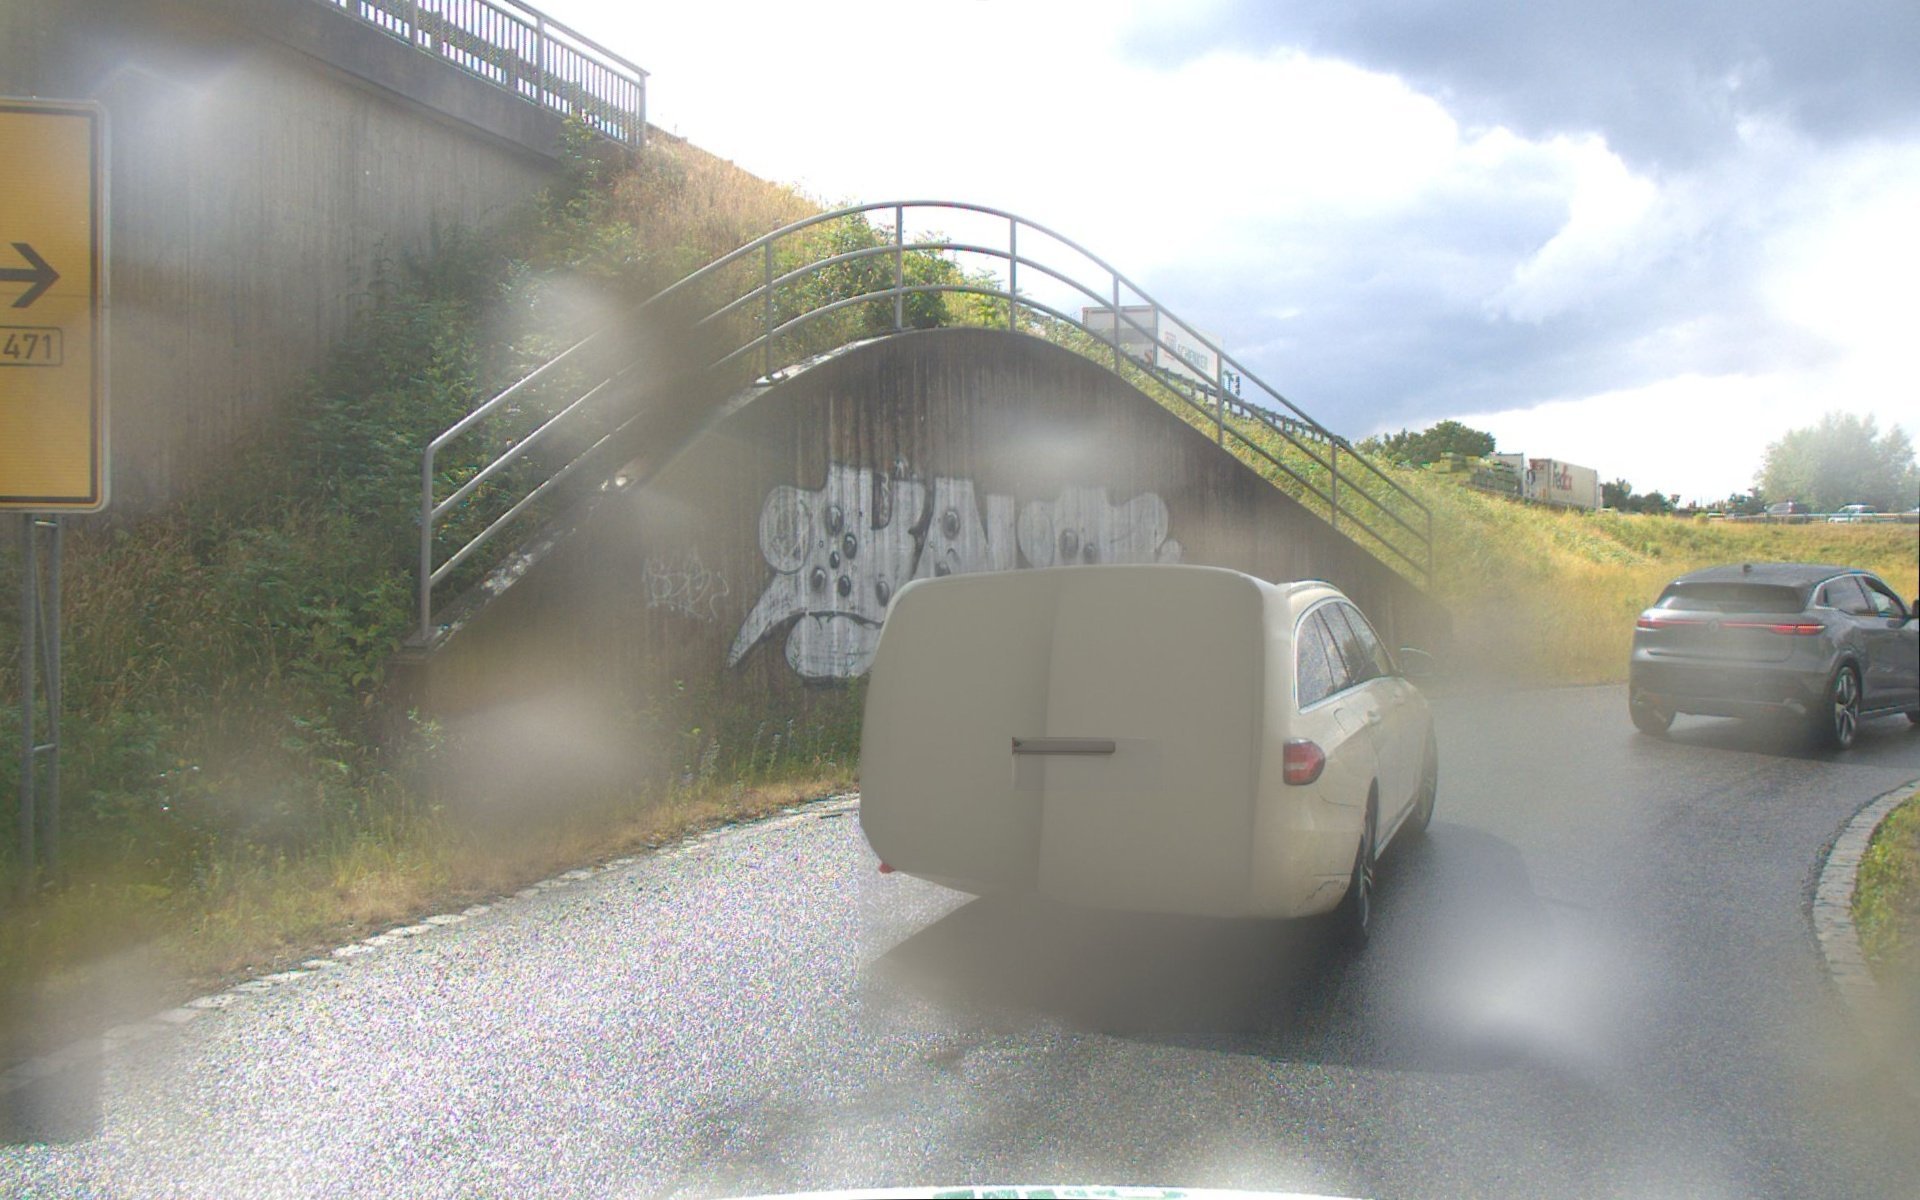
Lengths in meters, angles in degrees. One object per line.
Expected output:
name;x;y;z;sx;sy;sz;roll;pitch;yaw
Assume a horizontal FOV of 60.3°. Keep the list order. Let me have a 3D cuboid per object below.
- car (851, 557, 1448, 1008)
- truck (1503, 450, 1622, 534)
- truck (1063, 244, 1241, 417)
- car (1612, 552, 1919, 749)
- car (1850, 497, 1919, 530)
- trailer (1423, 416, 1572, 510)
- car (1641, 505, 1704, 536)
car;1.260;0.586;8.114;1.876;1.533;4.597;0;1;20
truck;43.709;-7.568;119.285;4.379;4.582;19.331;1;0;31
truck;6.478;-8.568;54.215;3.117;4.035;9.231;1;0;24
car;7.693;0.360;15.123;3.968;1.551;1.697;-1;2;-43
car;60.851;-5.646;107.880;1.961;1.894;5.035;-1;0;-16
trailer;33.692;-8.219;102.622;4.333;4.025;20.171;1;0;31
car;49.531;-5.508;114.977;3.909;2.049;1.825;1;0;26
